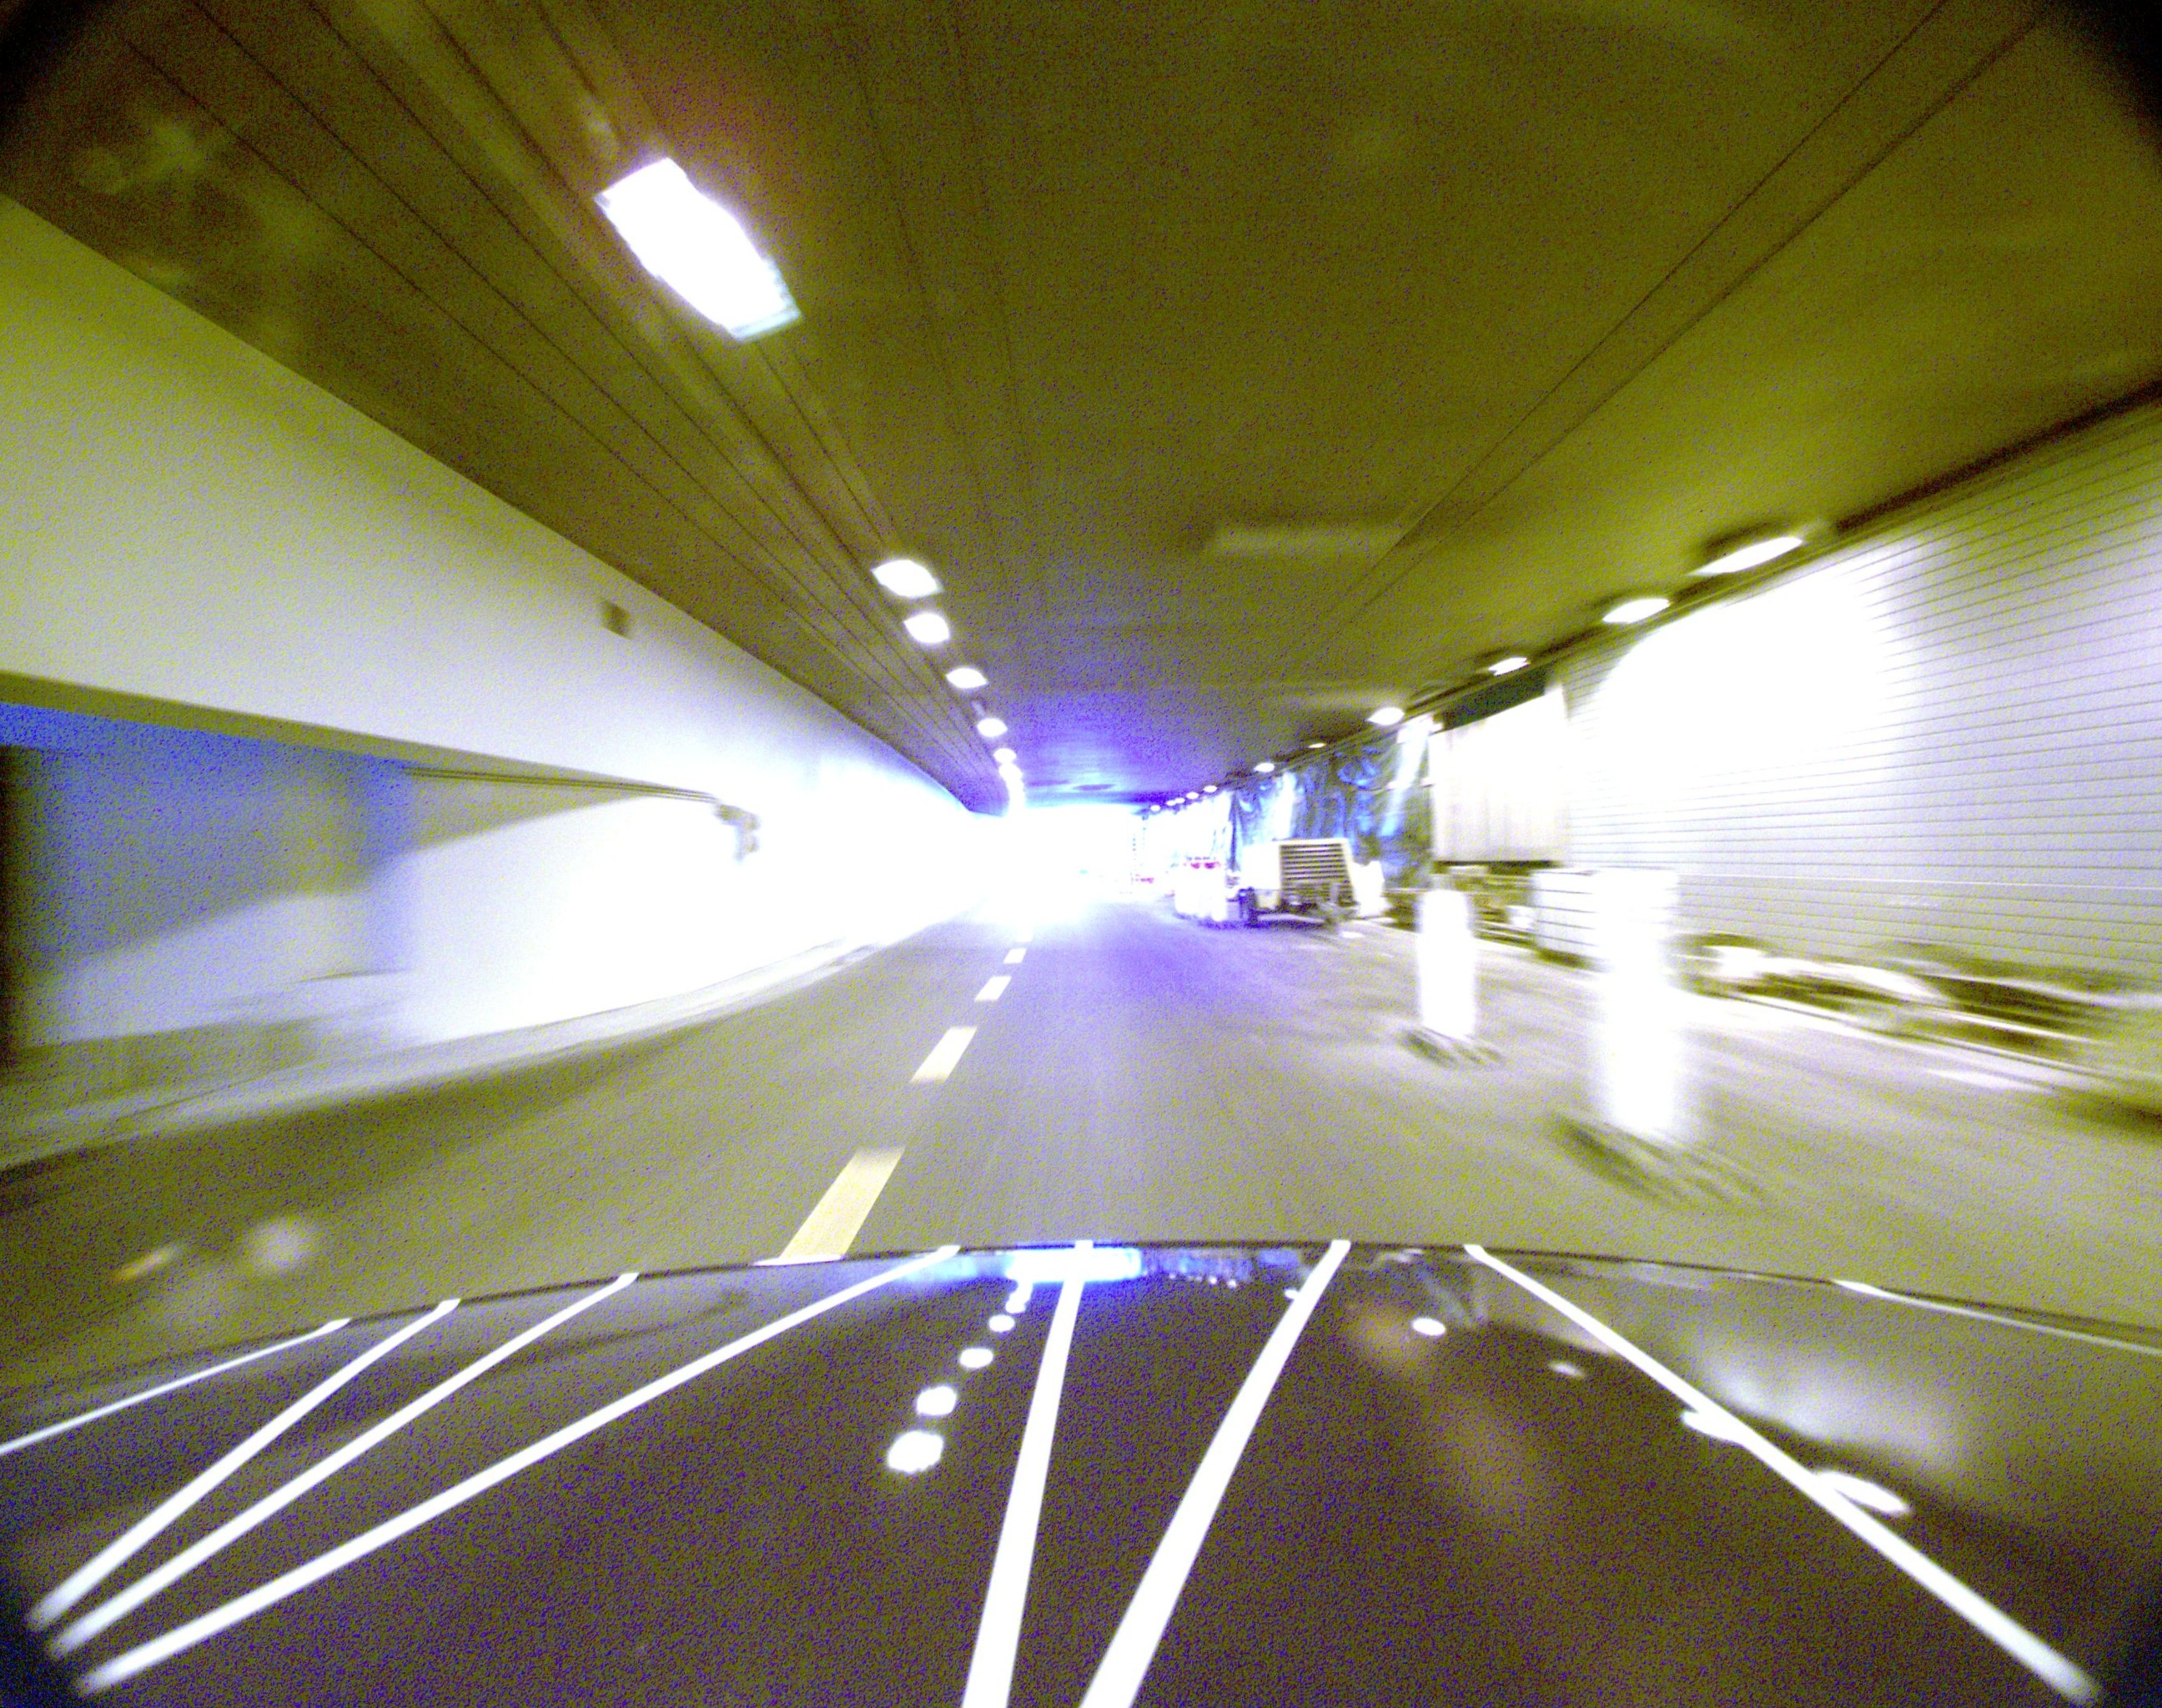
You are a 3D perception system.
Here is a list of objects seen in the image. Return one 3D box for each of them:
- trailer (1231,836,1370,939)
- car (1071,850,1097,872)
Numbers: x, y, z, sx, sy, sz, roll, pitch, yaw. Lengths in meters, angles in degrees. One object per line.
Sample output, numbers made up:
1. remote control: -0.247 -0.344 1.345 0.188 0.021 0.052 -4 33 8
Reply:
1. trailer: 4.222 0.579 15.083 1.644 1.781 3.121 -2 1 -4
2. car: 0.212 0.606 65.354 1.999 1.743 3.999 -2 1 -2
